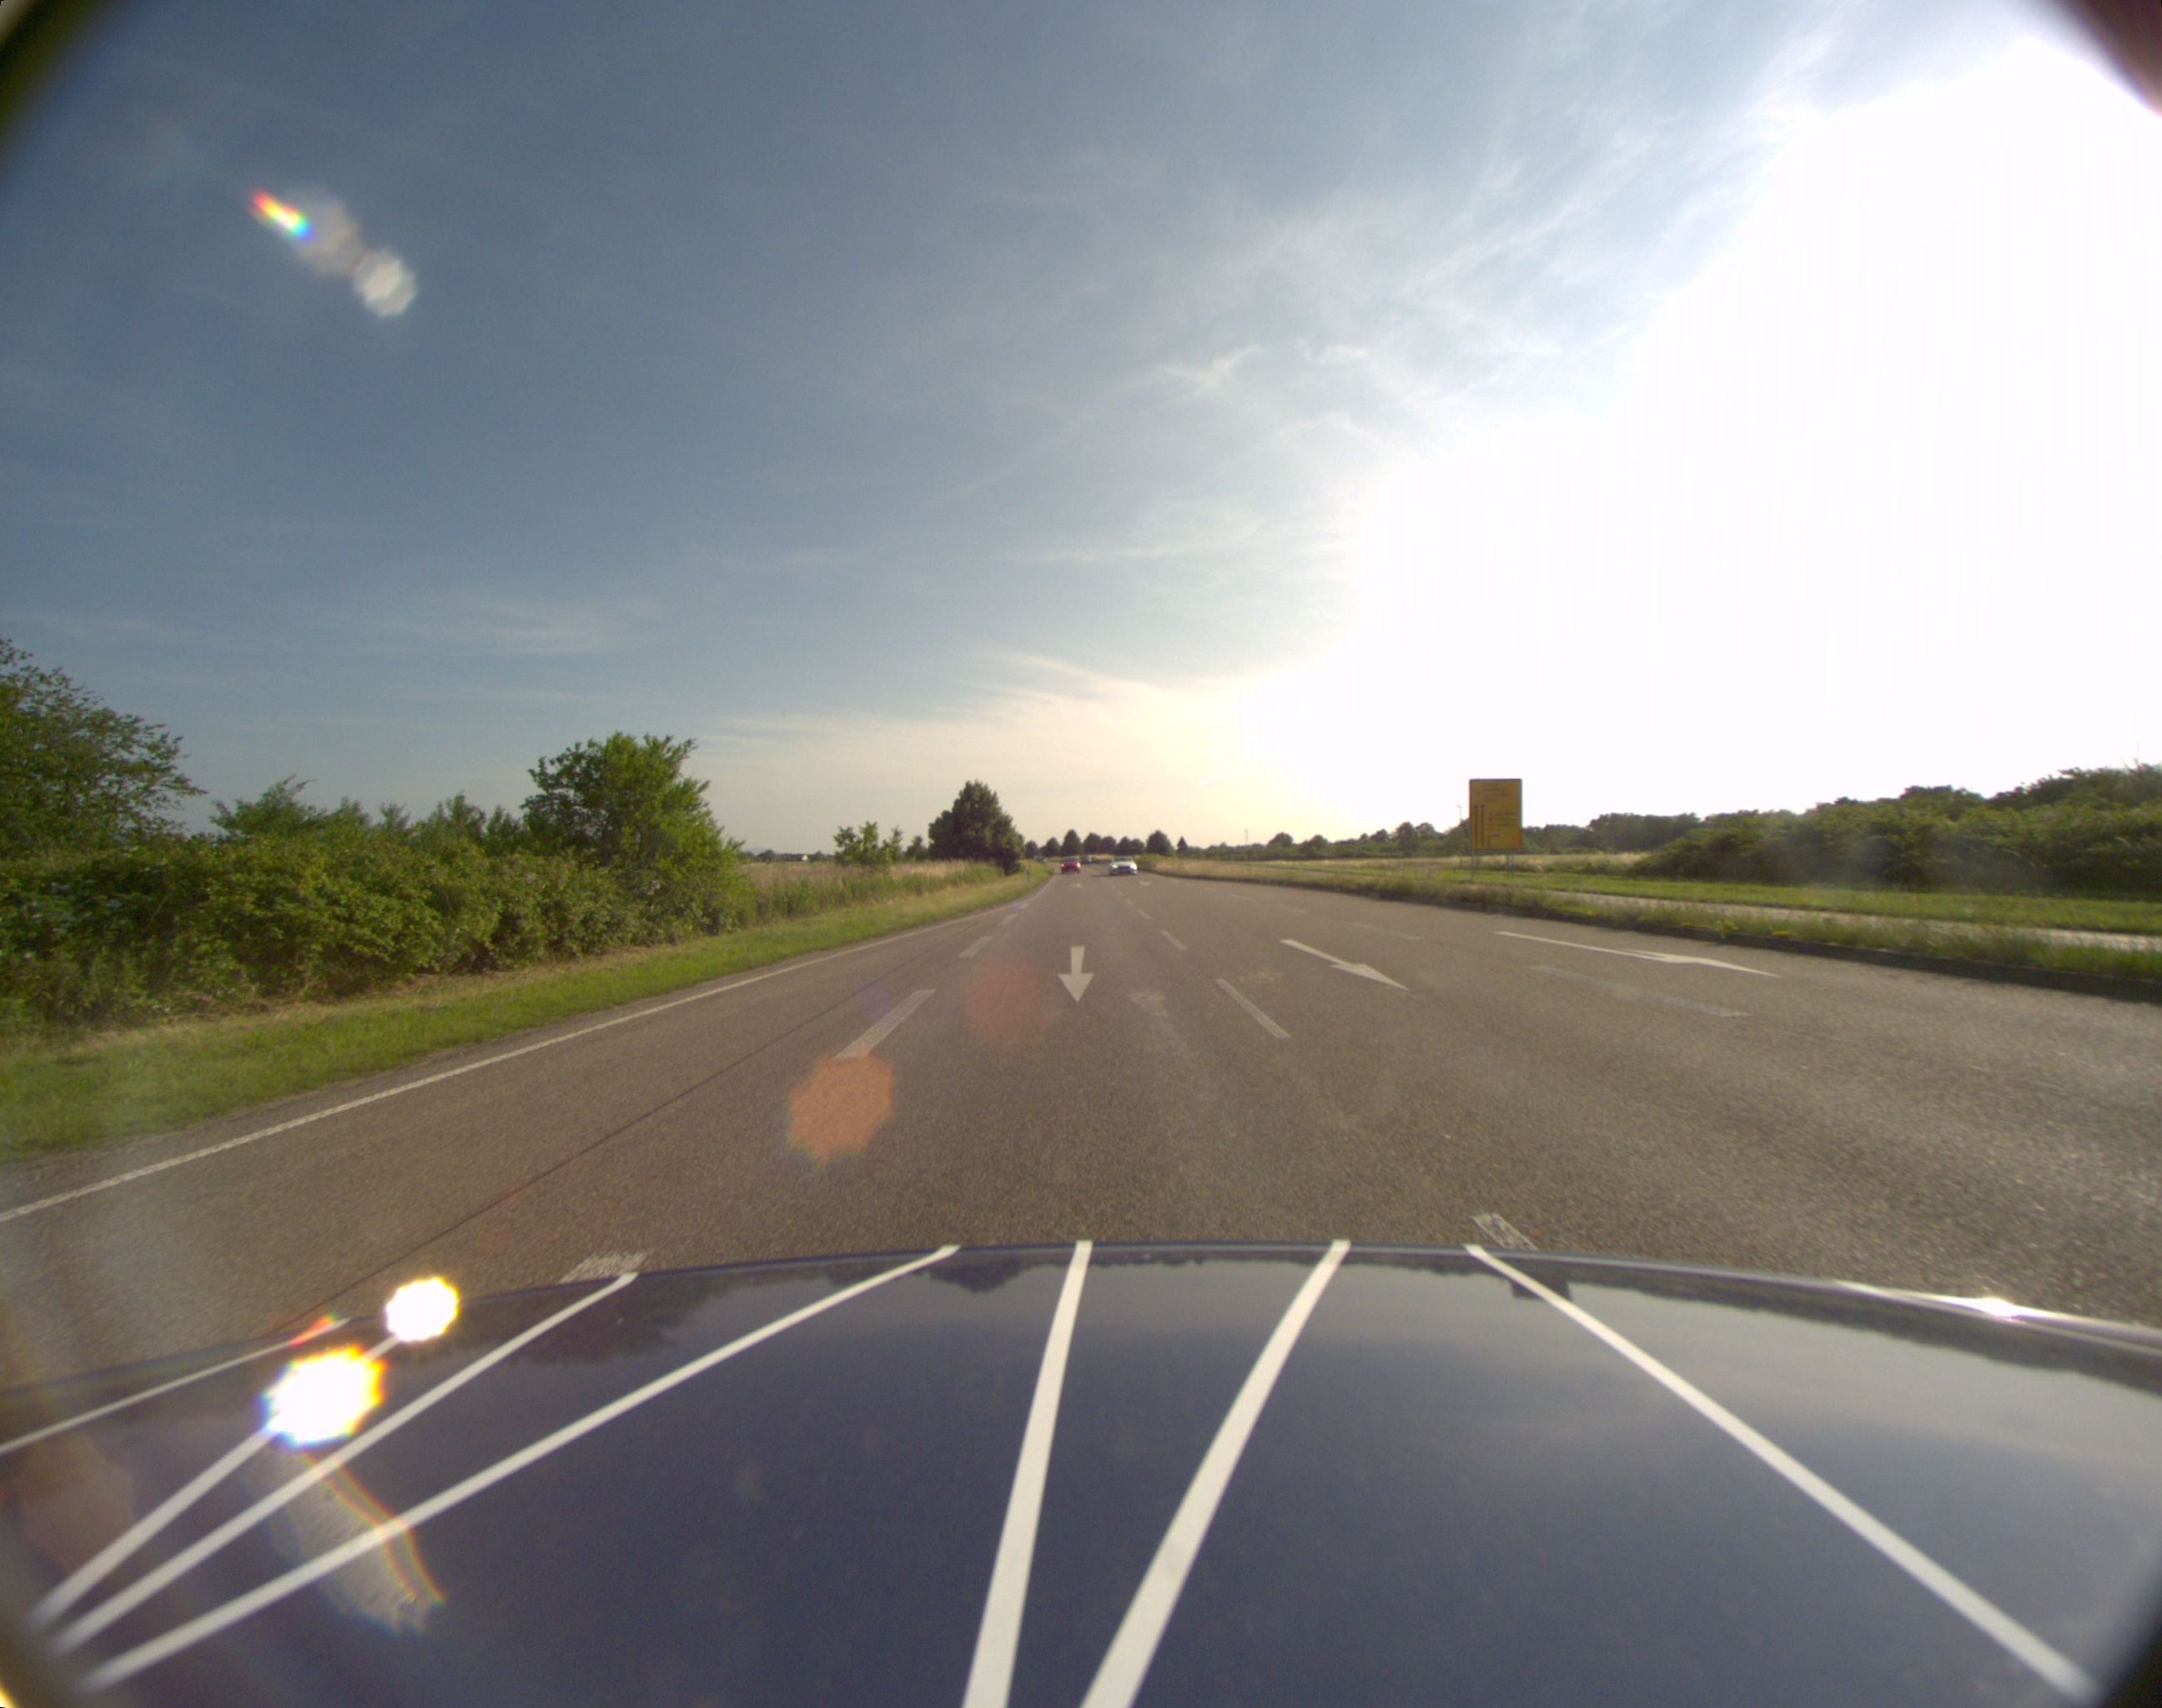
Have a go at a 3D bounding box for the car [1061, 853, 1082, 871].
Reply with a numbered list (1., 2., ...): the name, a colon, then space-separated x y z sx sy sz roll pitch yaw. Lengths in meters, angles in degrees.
1. car: -0.841 0.723 69.020 1.665 1.456 3.954 -2 1 1

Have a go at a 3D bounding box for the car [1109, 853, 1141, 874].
1. car: 3.305 0.688 57.550 1.876 1.390 4.202 -2 1 -4

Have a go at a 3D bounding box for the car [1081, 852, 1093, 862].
1. car: 0.954 0.478 114.932 1.689 1.455 3.955 -1 0 1
